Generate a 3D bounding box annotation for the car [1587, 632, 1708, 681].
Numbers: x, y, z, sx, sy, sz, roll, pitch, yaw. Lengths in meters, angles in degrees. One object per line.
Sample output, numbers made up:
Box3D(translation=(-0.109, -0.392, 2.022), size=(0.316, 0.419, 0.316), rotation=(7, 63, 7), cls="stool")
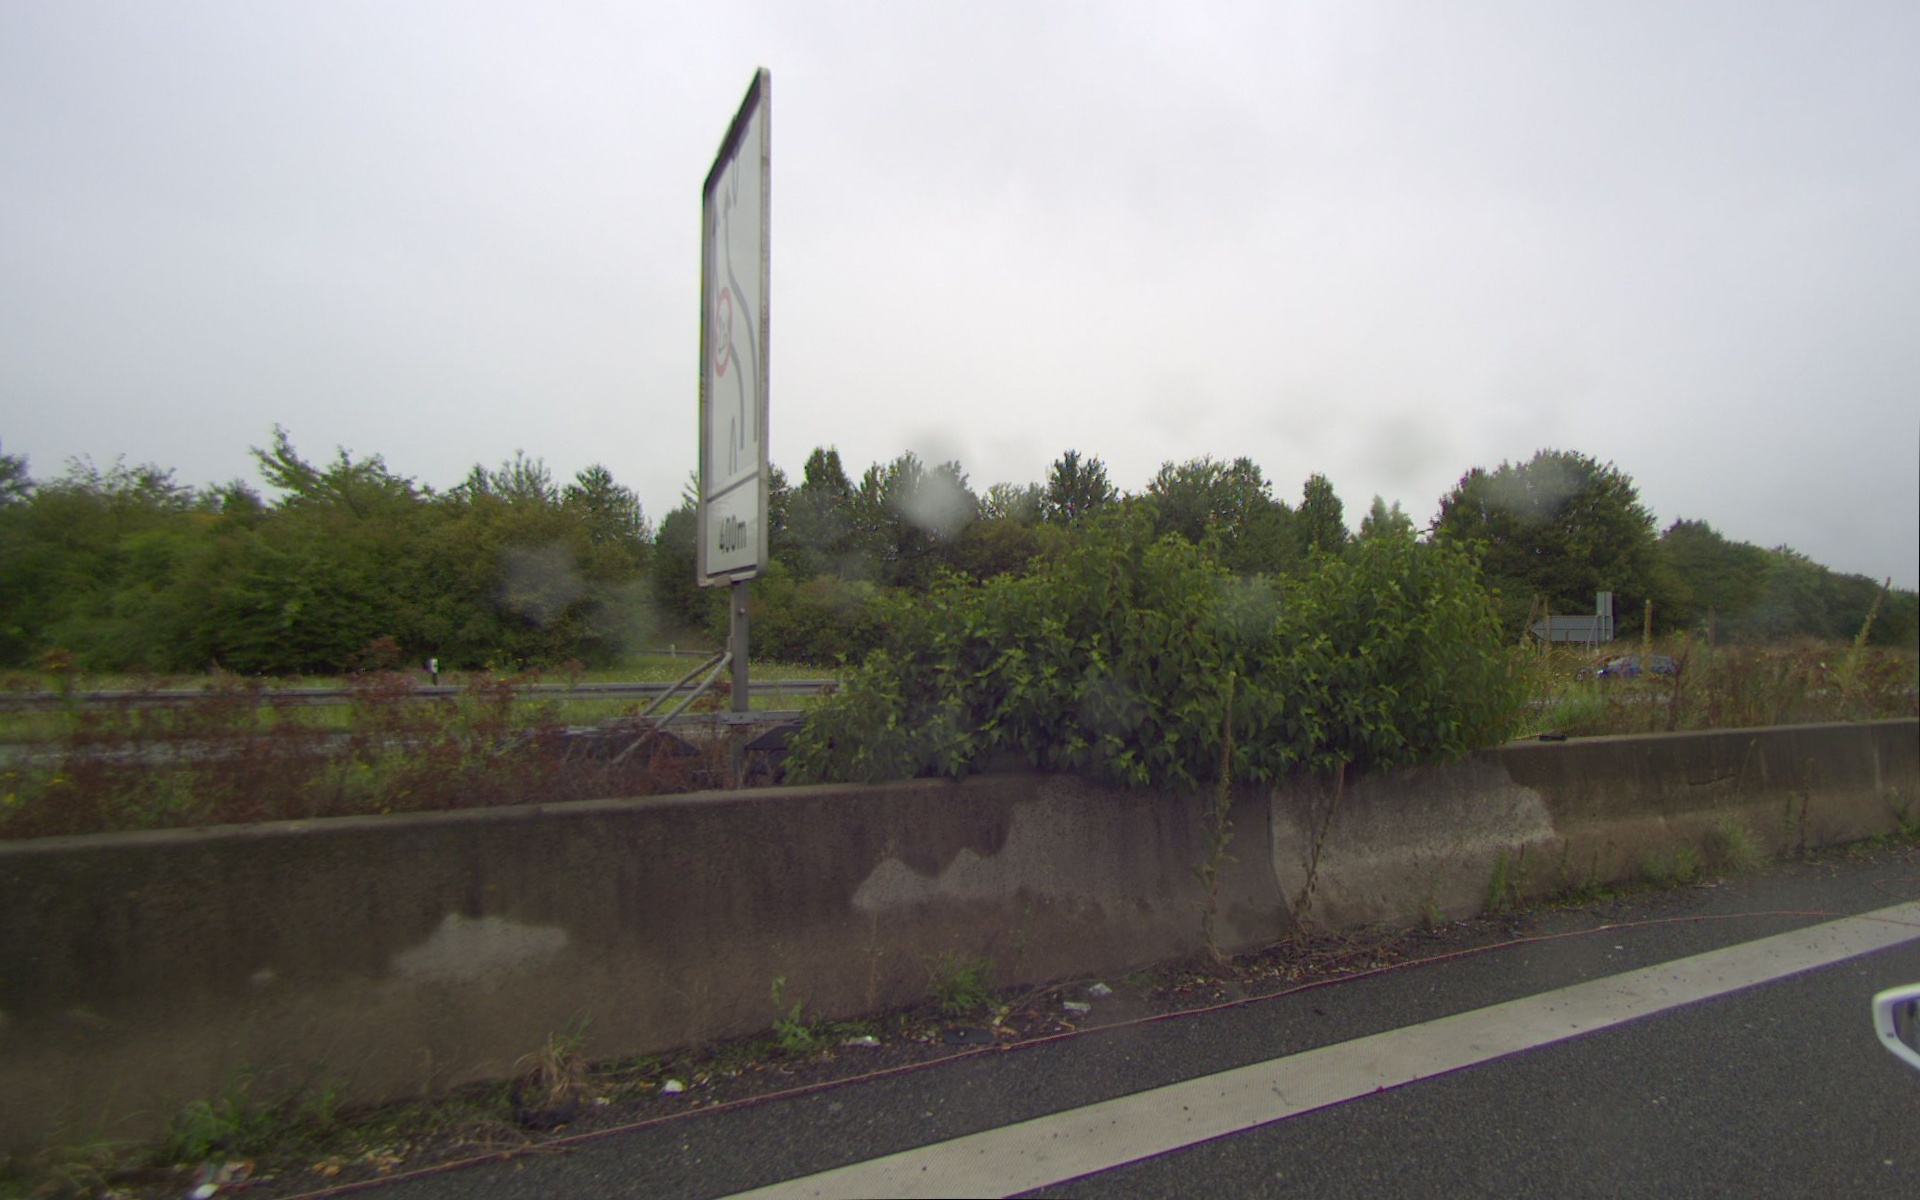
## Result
Box3D(translation=(30.744, 2.523, 45.009), size=(4.198, 2.138, 1.697), rotation=(0, -2, 4), cls="car")
